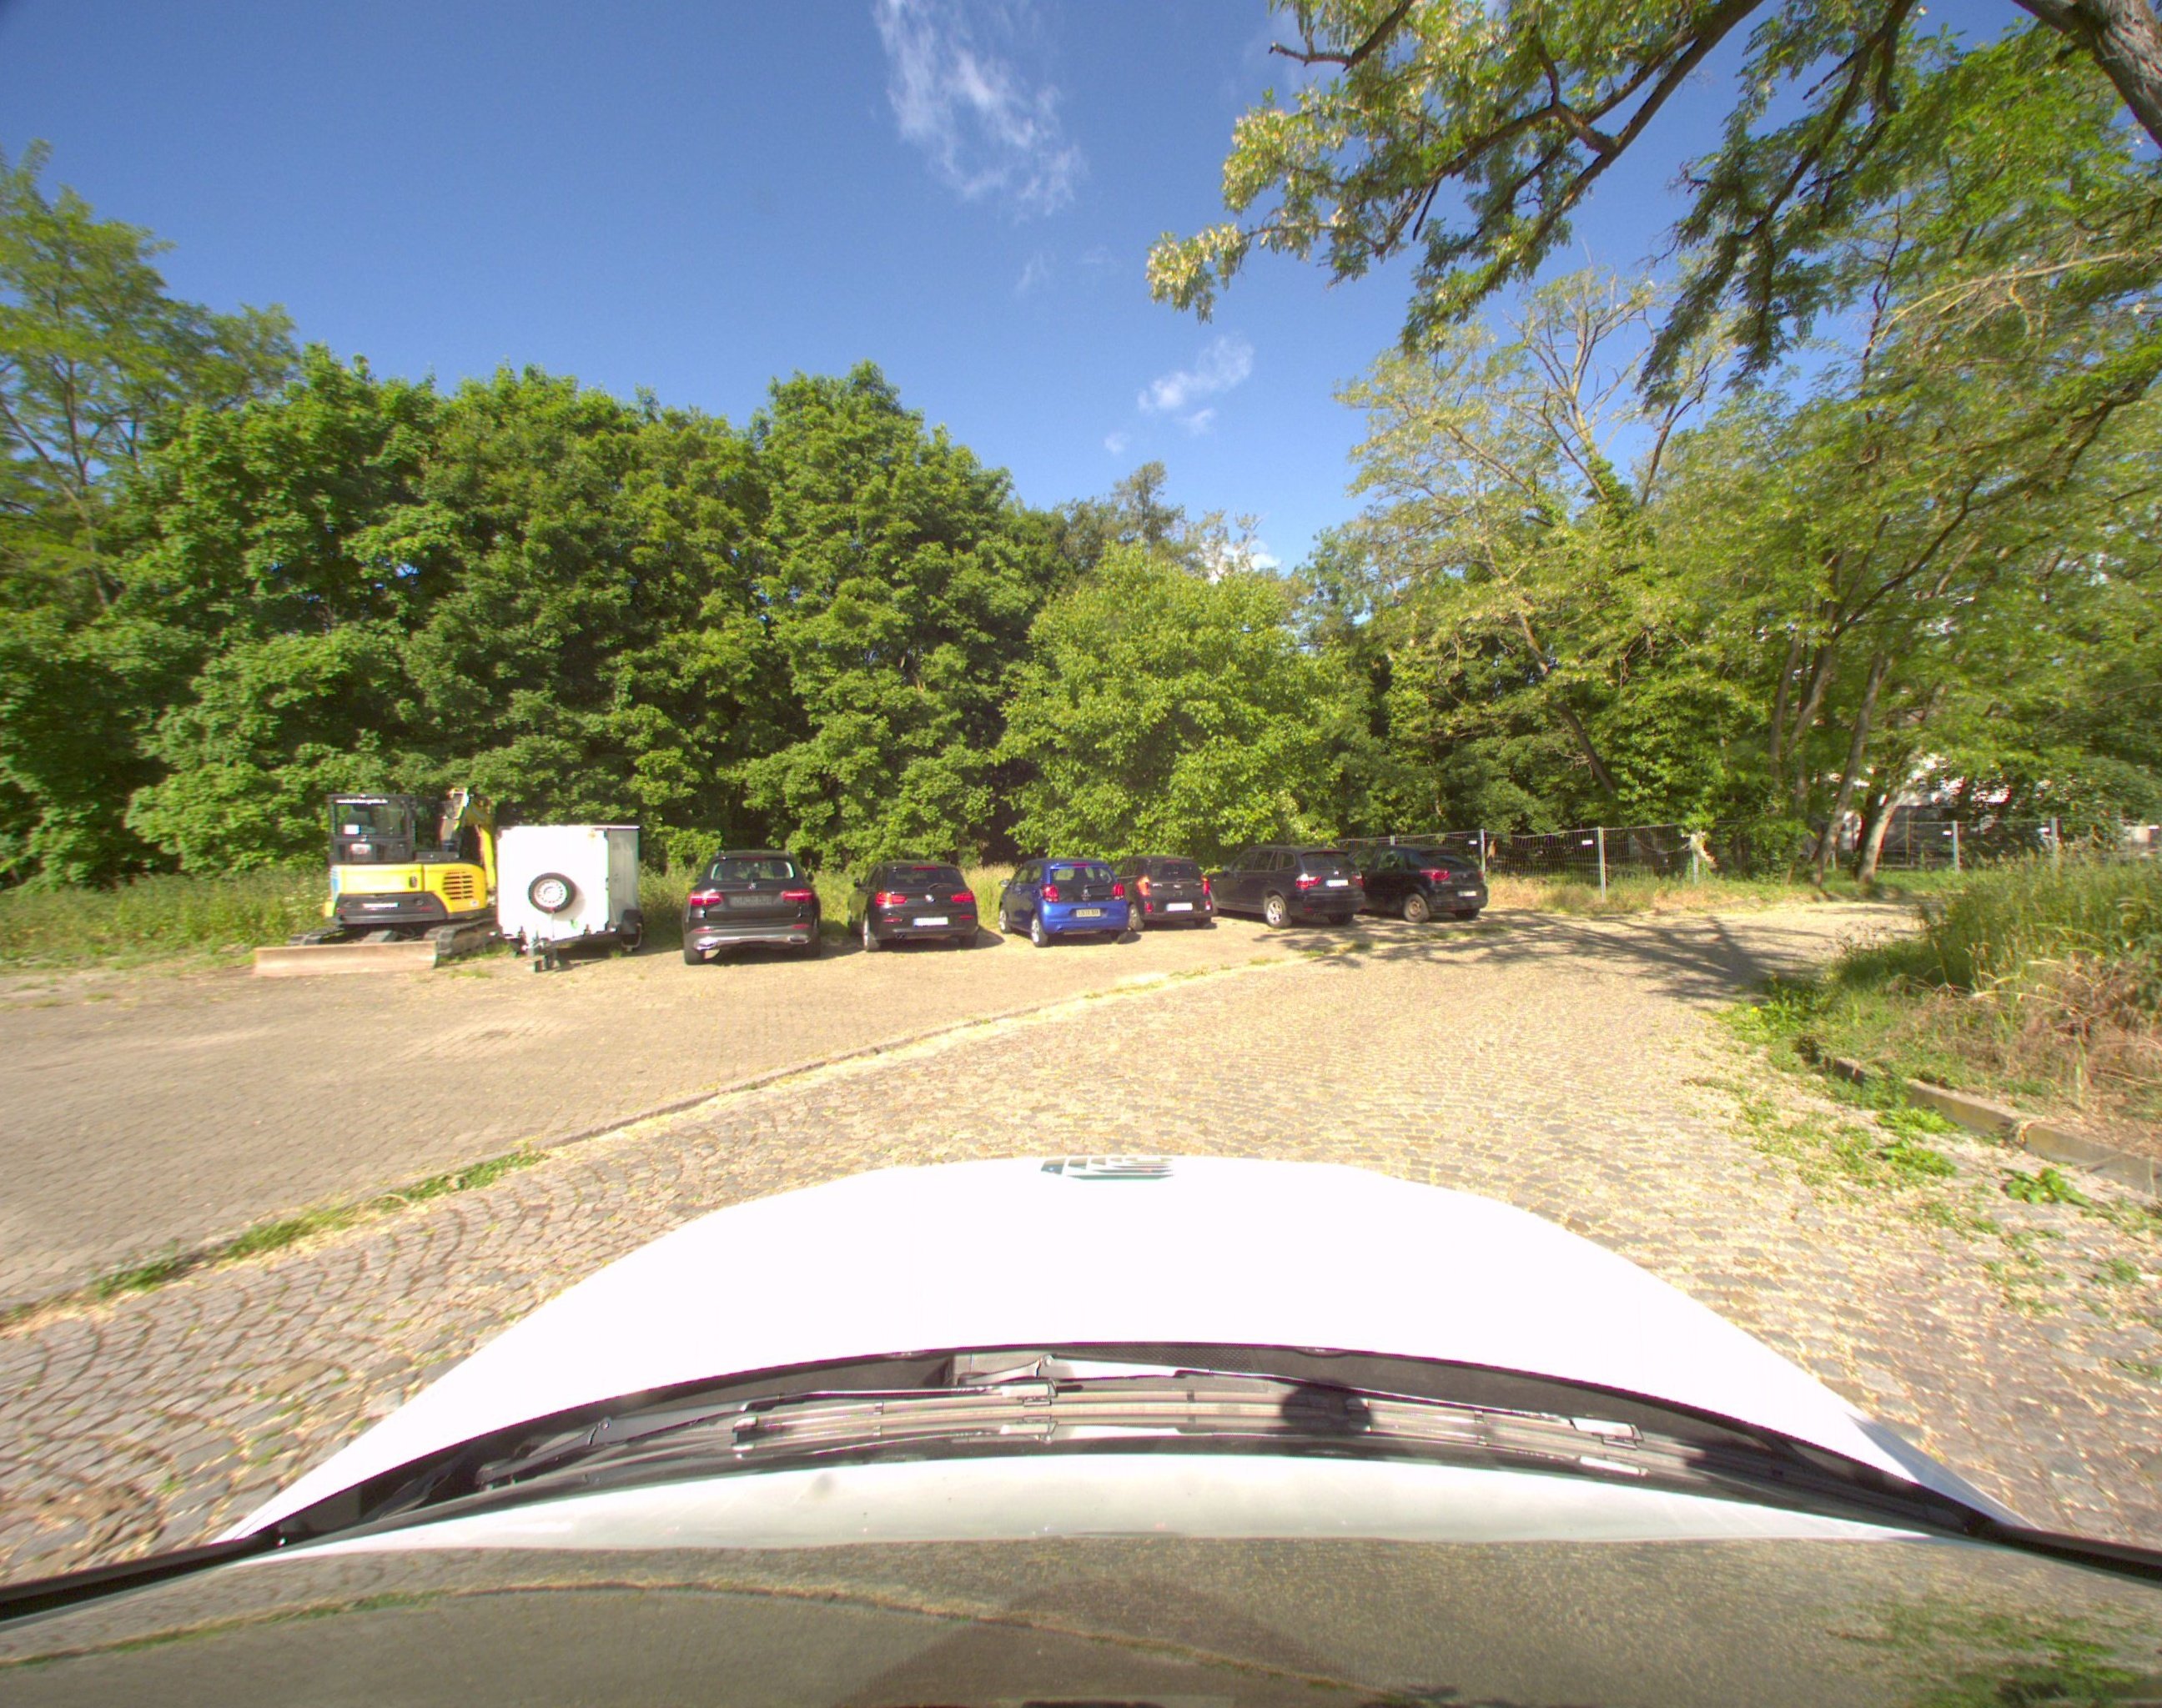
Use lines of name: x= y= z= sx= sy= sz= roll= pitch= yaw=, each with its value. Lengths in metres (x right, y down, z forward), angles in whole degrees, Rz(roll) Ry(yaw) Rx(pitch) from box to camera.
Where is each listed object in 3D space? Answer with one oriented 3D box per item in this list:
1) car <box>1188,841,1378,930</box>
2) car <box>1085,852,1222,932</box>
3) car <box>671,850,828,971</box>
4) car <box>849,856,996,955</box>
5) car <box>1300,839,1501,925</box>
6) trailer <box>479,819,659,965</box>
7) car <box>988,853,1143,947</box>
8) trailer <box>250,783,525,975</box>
car: x=4.217 y=0.557 z=17.724 sx=1.882 sy=1.631 sz=4.242 roll=0 pitch=2 yaw=-22
car: x=1.399 y=0.705 z=17.243 sx=1.742 sy=1.451 sz=3.706 roll=0 pitch=1 yaw=-15
car: x=-5.205 y=0.730 z=13.039 sx=1.971 sy=1.589 sz=4.103 roll=0 pitch=0 yaw=-21
car: x=-2.866 y=0.765 z=14.081 sx=1.896 sy=1.411 sz=3.764 roll=0 pitch=0 yaw=-21
car: x=7.176 y=0.520 z=18.775 sx=1.833 sy=1.589 sz=4.239 roll=-2 pitch=3 yaw=-25
trailer: x=-8.037 y=0.513 z=13.068 sx=1.824 sy=2.050 sz=2.832 roll=0 pitch=0 yaw=-19
car: x=-0.428 y=0.728 z=15.099 sx=1.786 sy=1.458 sz=3.765 roll=0 pitch=1 yaw=-20
trailer: x=-10.342 y=0.262 z=12.495 sx=2.266 sy=2.538 sz=2.833 roll=0 pitch=3 yaw=-19
